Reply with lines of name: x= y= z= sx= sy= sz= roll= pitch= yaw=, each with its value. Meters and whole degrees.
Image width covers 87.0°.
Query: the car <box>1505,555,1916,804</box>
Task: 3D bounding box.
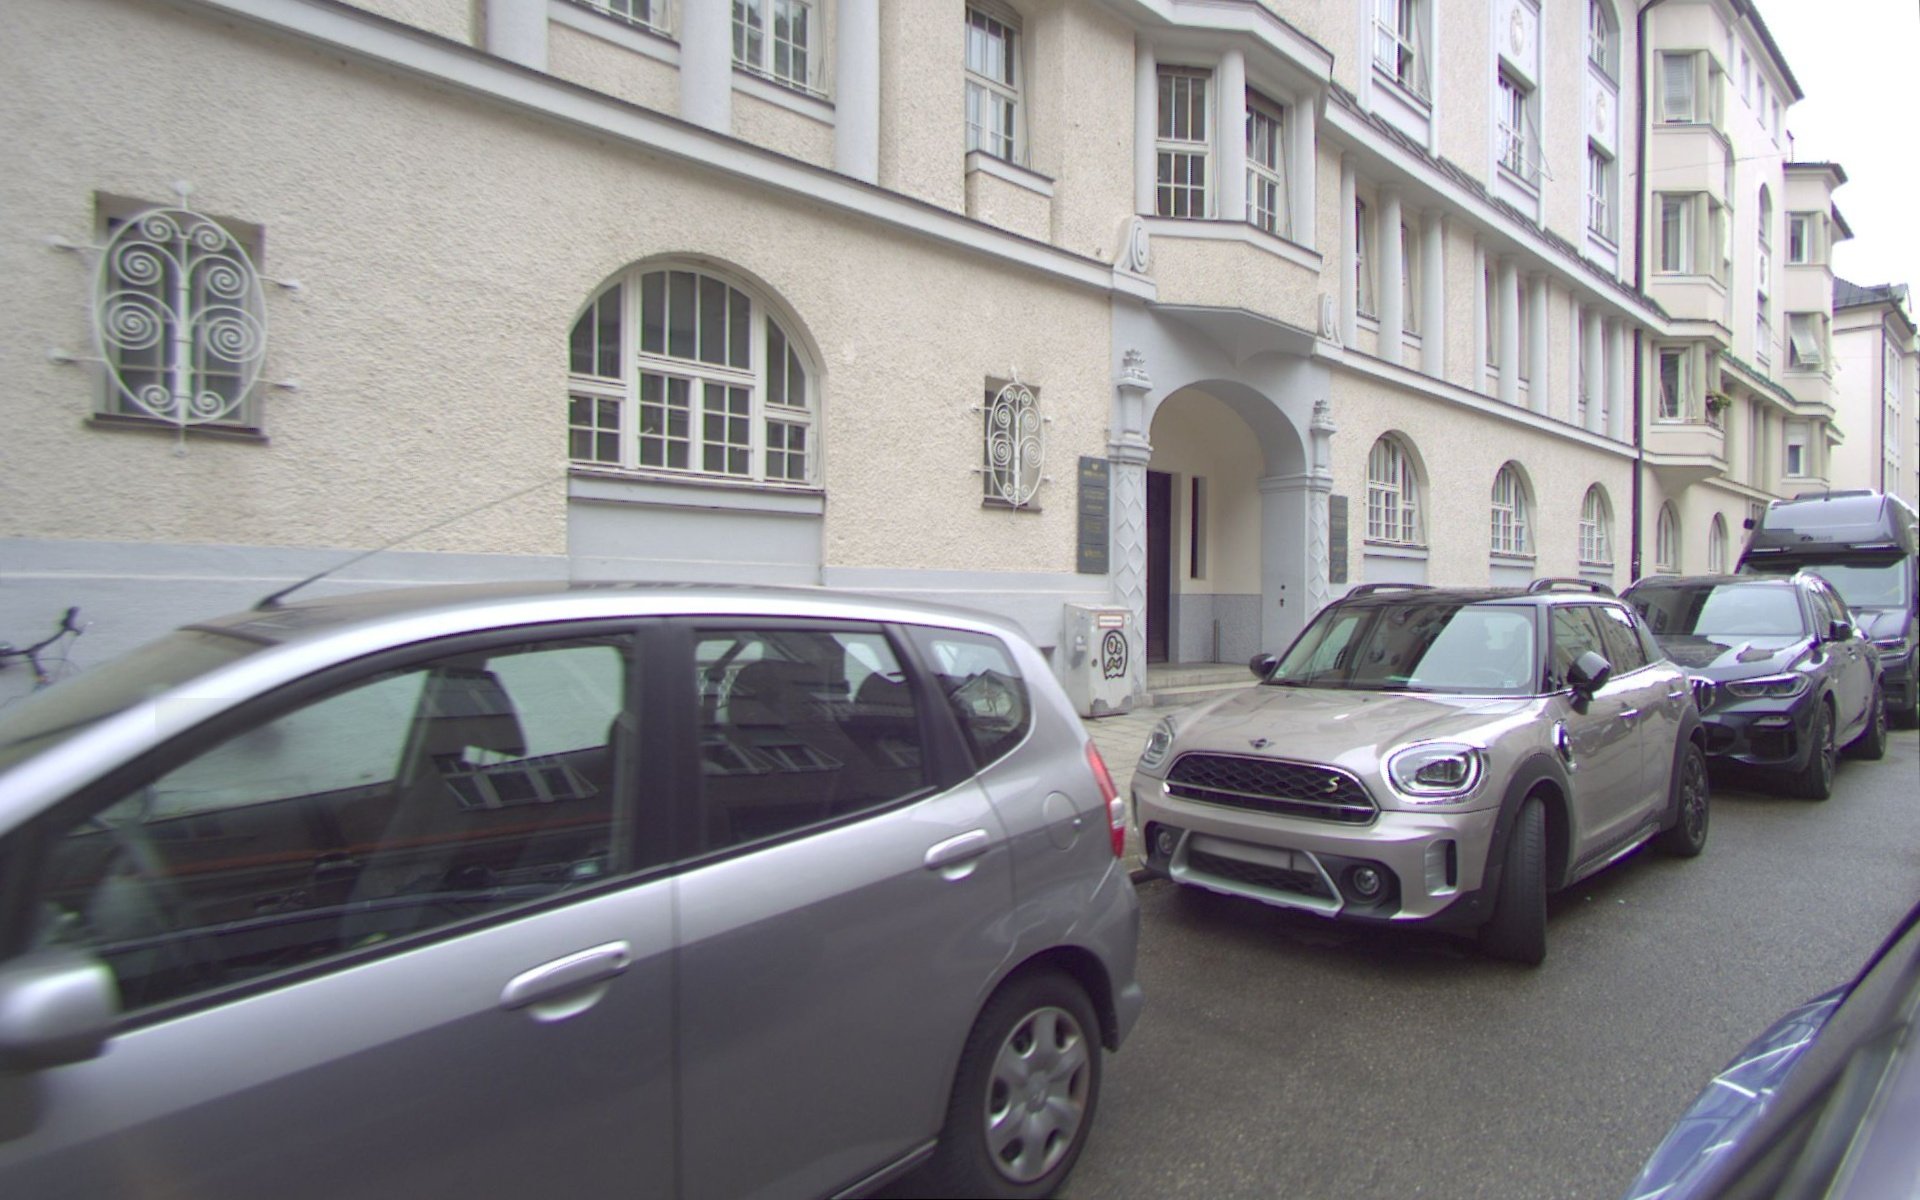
car: x=6.977 y=0.558 z=9.215 sx=4.591 sy=1.710 sz=1.997 roll=0 pitch=-1 yaw=-40

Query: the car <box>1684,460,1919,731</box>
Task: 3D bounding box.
car: x=12.233 y=-0.091 z=14.001 sx=6.027 sy=2.997 sz=2.258 roll=-1 pitch=0 yaw=-41

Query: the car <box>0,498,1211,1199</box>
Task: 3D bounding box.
car: x=-1.180 y=0.660 z=2.185 sx=3.792 sy=1.556 sz=1.634 roll=0 pitch=0 yaw=-45

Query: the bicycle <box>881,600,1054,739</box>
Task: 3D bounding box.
bicycle: x=0.106 y=0.590 z=9.366 sx=1.758 sy=1.165 sz=0.482 roll=0 pitch=0 yaw=-43

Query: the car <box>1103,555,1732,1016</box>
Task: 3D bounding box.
car: x=2.672 y=0.637 z=5.456 sx=3.899 sy=1.612 sz=1.636 roll=0 pitch=0 yaw=-41

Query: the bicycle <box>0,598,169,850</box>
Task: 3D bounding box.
bicycle: x=-4.999 y=0.608 z=5.002 sx=0.563 sy=1.207 sz=1.650 roll=3 pitch=3 yaw=44

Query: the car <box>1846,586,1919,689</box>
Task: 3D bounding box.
car: x=16.451 y=0.598 z=17.291 sx=2.764 sy=1.646 sz=1.545 roll=0 pitch=0 yaw=-39

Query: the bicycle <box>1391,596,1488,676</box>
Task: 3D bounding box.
bicycle: x=7.394 y=0.529 z=15.579 sx=1.753 sy=1.165 sz=0.483 roll=0 pitch=0 yaw=-32

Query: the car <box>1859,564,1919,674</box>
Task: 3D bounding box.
car: x=19.574 y=0.341 z=20.274 sx=4.000 sy=2.065 sz=1.798 roll=0 pitch=0 yaw=-41

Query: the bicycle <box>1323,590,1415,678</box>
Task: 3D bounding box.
bicycle: x=5.811 y=0.451 z=14.333 sx=1.758 sy=1.164 sz=0.482 roll=0 pitch=3 yaw=-43
